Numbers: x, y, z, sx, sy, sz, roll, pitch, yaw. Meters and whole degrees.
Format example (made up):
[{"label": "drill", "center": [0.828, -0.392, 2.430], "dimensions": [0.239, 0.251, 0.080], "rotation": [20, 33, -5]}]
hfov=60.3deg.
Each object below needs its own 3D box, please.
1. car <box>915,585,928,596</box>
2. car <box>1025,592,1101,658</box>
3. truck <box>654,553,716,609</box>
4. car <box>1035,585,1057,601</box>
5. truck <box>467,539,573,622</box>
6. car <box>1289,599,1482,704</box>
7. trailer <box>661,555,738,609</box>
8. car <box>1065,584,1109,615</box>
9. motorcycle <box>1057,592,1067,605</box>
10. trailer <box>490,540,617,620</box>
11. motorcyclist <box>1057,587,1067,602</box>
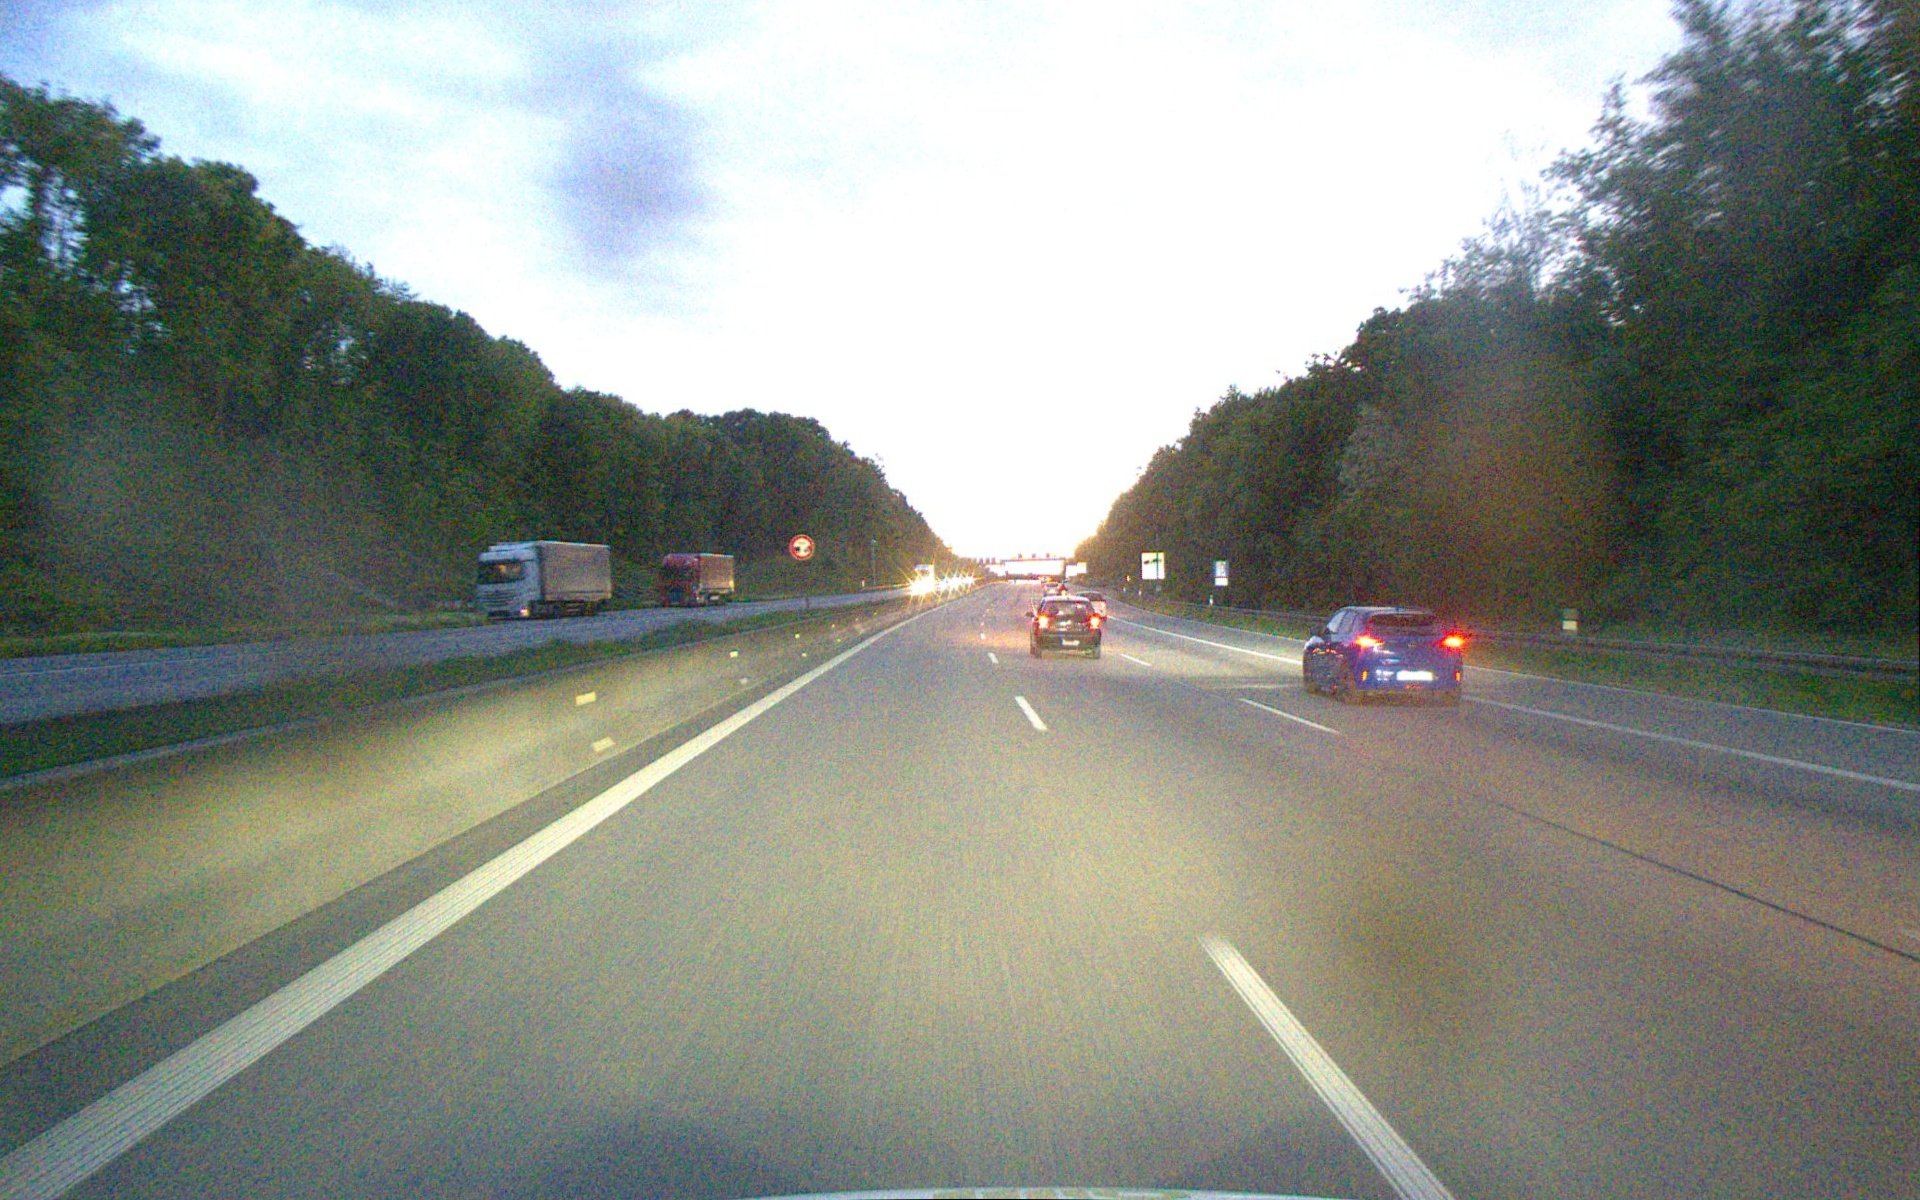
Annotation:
[{"label": "car", "center": [-5.438, -1.338, 233.976], "dimensions": [1.651, 1.541, 4.416], "rotation": [0, 1, 2]}, {"label": "car", "center": [2.511, 0.604, 40.962], "dimensions": [1.669, 1.536, 4.232], "rotation": [1, -1, 1]}, {"label": "truck", "center": [-21.279, -1.432, 128.500], "dimensions": [3.124, 4.176, 7.693], "rotation": [0, 0, 3]}, {"label": "car", "center": [8.920, -0.732, 171.716], "dimensions": [1.827, 1.520, 4.397], "rotation": [1, -1, -2]}, {"label": "truck", "center": [-23.211, -1.003, 87.708], "dimensions": [3.124, 4.176, 7.693], "rotation": [0, 0, 3]}, {"label": "car", "center": [6.504, 0.731, 25.811], "dimensions": [1.827, 1.461, 4.584], "rotation": [1, 0, 0]}, {"label": "trailer", "center": [-20.955, -1.382, 134.094], "dimensions": [3.124, 4.176, 14.190], "rotation": [0, 0, 3]}, {"label": "car", "center": [6.500, 0.005, 85.013], "dimensions": [1.789, 1.501, 4.397], "rotation": [1, -1, -2]}, {"label": "motorcycle", "center": [9.040, -0.121, 146.358], "dimensions": [0.812, 1.154, 2.476], "rotation": [-1, 0, 2]}, {"label": "trailer", "center": [-22.866, -1.062, 93.990], "dimensions": [3.124, 4.176, 13.745], "rotation": [0, 0, 3]}, {"label": "motorcyclist", "center": [9.034, -0.506, 146.295], "dimensions": [0.812, 1.314, 1.190], "rotation": [-1, 0, 2]}]
